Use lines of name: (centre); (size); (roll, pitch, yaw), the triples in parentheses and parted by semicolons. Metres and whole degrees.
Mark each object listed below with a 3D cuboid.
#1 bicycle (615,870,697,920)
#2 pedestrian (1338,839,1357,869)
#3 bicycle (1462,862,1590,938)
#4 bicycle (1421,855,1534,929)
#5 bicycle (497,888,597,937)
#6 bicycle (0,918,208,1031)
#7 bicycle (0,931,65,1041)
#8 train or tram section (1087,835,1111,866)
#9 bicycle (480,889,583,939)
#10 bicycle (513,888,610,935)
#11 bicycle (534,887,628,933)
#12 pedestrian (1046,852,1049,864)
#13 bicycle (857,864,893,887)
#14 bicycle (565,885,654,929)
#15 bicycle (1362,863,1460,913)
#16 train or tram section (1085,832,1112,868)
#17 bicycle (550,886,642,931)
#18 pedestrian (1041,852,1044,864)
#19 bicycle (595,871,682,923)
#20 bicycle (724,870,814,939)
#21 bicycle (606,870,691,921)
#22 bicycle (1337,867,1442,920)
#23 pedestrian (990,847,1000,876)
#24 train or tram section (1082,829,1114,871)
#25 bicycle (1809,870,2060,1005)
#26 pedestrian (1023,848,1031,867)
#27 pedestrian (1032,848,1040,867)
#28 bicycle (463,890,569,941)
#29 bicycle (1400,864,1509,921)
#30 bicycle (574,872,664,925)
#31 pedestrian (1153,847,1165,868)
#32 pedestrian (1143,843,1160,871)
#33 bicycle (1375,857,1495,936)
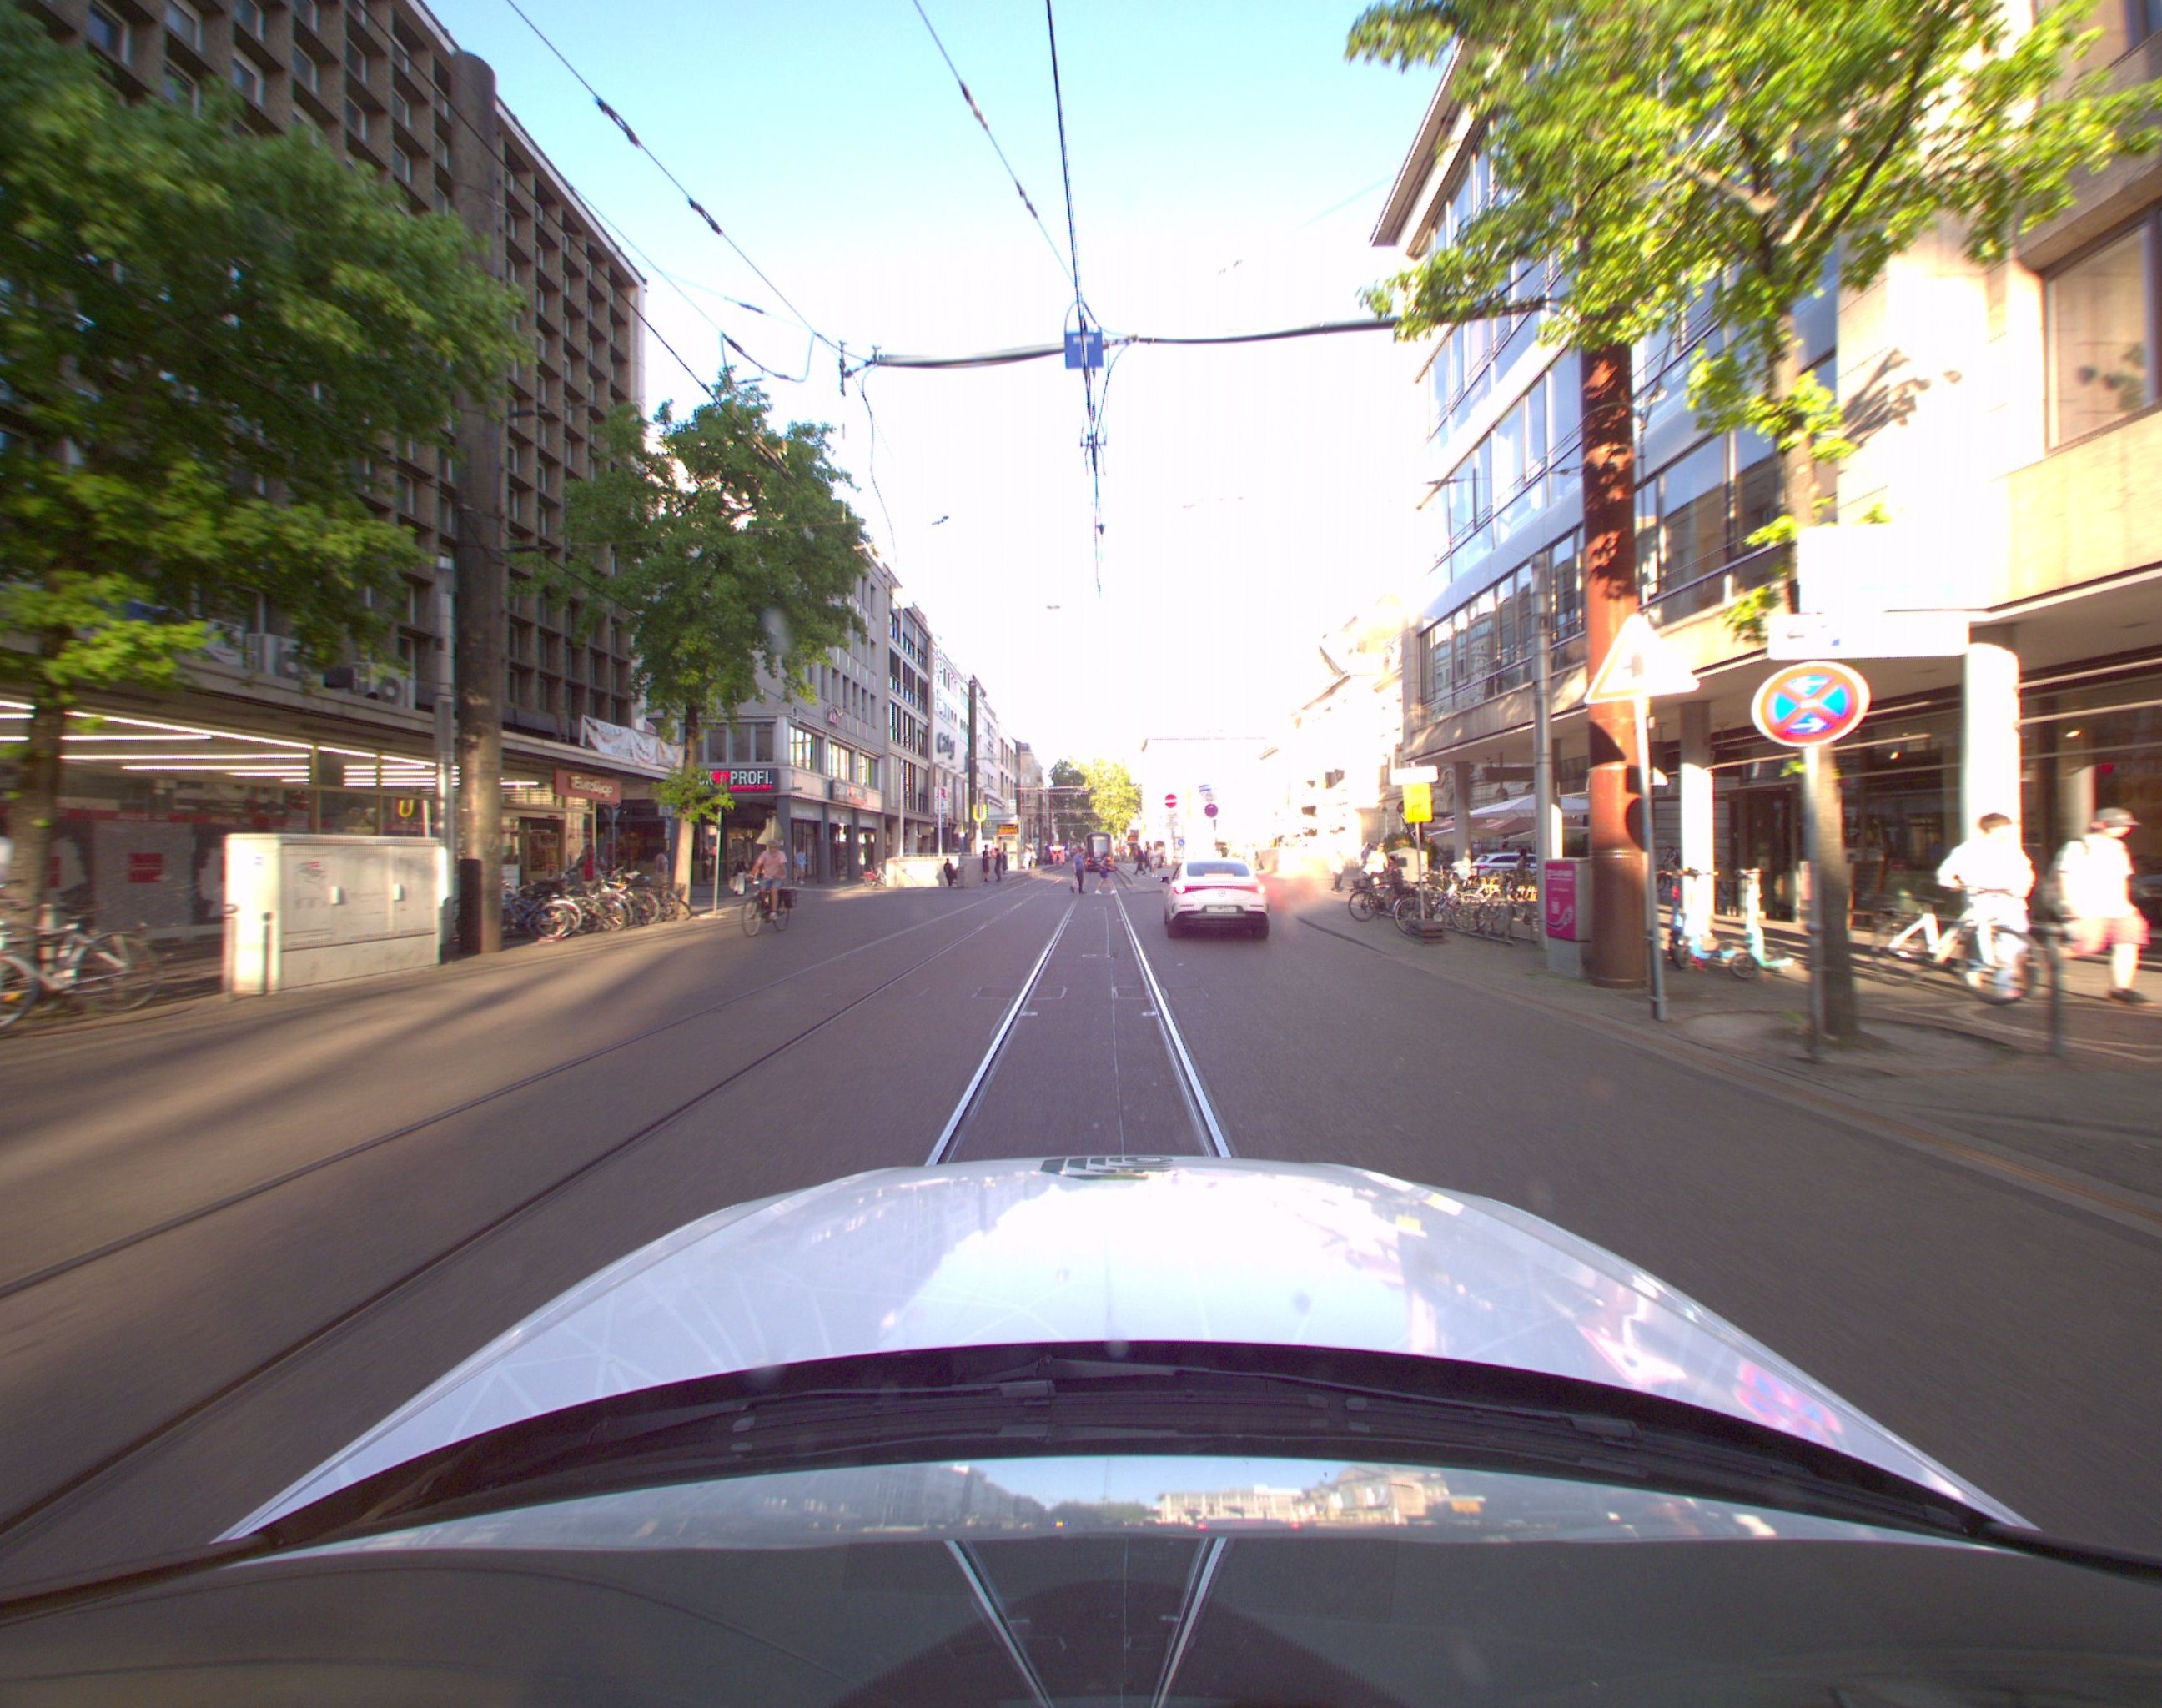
bicycle: (-8.961, 0.866, 17.204); (1.492, 1.029, 0.343); (1, 0, -9)
pedestrian: (15.823, 0.000, 48.344); (0.720, 1.785, 1.005); (-2, 0, 1)
bicycle: (7.507, 0.761, 13.750); (1.908, 1.156, 0.608); (-2, 0, -10)
bicycle: (7.521, 0.704, 15.464); (1.908, 1.281, 0.608); (-2, 0, -10)
bicycle: (-9.156, 0.997, 13.969); (1.487, 0.783, 0.345); (1, 0, 2)
bicycle: (-8.547, 1.010, 7.160); (0.343, 0.783, 1.402); (1, 0, -6)
bicycle: (-8.830, 1.005, 6.322); (1.487, 0.783, 0.345); (1, 0, 2)
train or tram section: (2.231, -0.428, 99.606); (2.685, 3.516, 11.146); (-1, 0, 1)
bicycle: (-9.170, 0.997, 13.610); (1.487, 0.783, 0.345); (1, 0, 2)
bicycle: (-9.137, 1.004, 14.329); (1.487, 0.783, 0.345); (1, 0, 2)
bicycle: (-9.006, 1.003, 14.691); (1.487, 0.783, 0.345); (1, 0, 2)
pedestrian: (-4.436, 0.540, 108.307); (0.412, 1.630, 0.606); (-1, 0, 2)
bicycle: (-9.515, 0.998, 37.667); (0.713, 1.010, 2.047); (-1, 0, 15)
bicycle: (-8.918, 0.998, 15.418); (1.487, 0.783, 0.345); (1, 0, 2)
bicycle: (7.717, 0.785, 19.072); (2.114, 1.096, 0.608); (-1, 0, -10)
train or tram section: (1.927, -0.405, 87.765); (2.685, 3.516, 12.548); (-1, 0, 1)
bicycle: (-8.963, 0.996, 15.059); (1.487, 0.783, 0.345); (1, 0, 2)
pedestrian: (-5.405, 0.576, 114.129); (0.412, 1.630, 0.606); (-1, 0, 2)
bicycle: (-8.923, 0.862, 16.457); (1.492, 1.029, 0.343); (1, 0, -9)
bicycle: (-5.833, 0.913, 15.394); (0.797, 1.142, 2.257); (1, 0, 0)
bicycle: (-8.924, 0.863, 16.831); (1.492, 1.029, 0.343); (1, 0, -9)
bicycle: (6.641, 0.842, 17.555); (2.114, 1.096, 0.608); (0, -1, -10)
pedestrian: (-4.799, 0.392, 45.650); (0.531, 1.613, 0.540); (-1, 0, -4)
train or tram section: (1.599, -0.376, 75.212); (2.685, 3.516, 12.548); (-1, 0, 1)
bicycle: (8.351, 0.753, 8.112); (0.562, 1.127, 1.932); (-2, 0, 5)
pedestrian: (-4.580, 0.316, 69.348); (0.658, 1.599, 0.573); (-1, 0, 0)
pedestrian: (-3.856, 0.314, 69.416); (0.658, 1.599, 0.573); (-1, 0, 0)
bicycle: (-9.182, 0.997, 13.255); (1.487, 0.783, 0.345); (1, 0, 2)
bicycle: (7.733, 0.784, 16.873); (2.115, 1.096, 0.607); (-1, 0, -12)
bicycle: (-9.067, 0.867, 16.020); (1.492, 1.009, 0.343); (1, 0, -9)
pedestrian: (6.888, 0.300, 71.668); (0.957, 1.785, 0.804); (-2, 0, 0)
pedestrian: (4.714, 0.208, 54.539); (0.957, 1.785, 0.804); (-2, 0, 0)
bicycle: (6.325, 0.737, 14.574); (1.908, 1.281, 0.608); (-2, 0, -10)
